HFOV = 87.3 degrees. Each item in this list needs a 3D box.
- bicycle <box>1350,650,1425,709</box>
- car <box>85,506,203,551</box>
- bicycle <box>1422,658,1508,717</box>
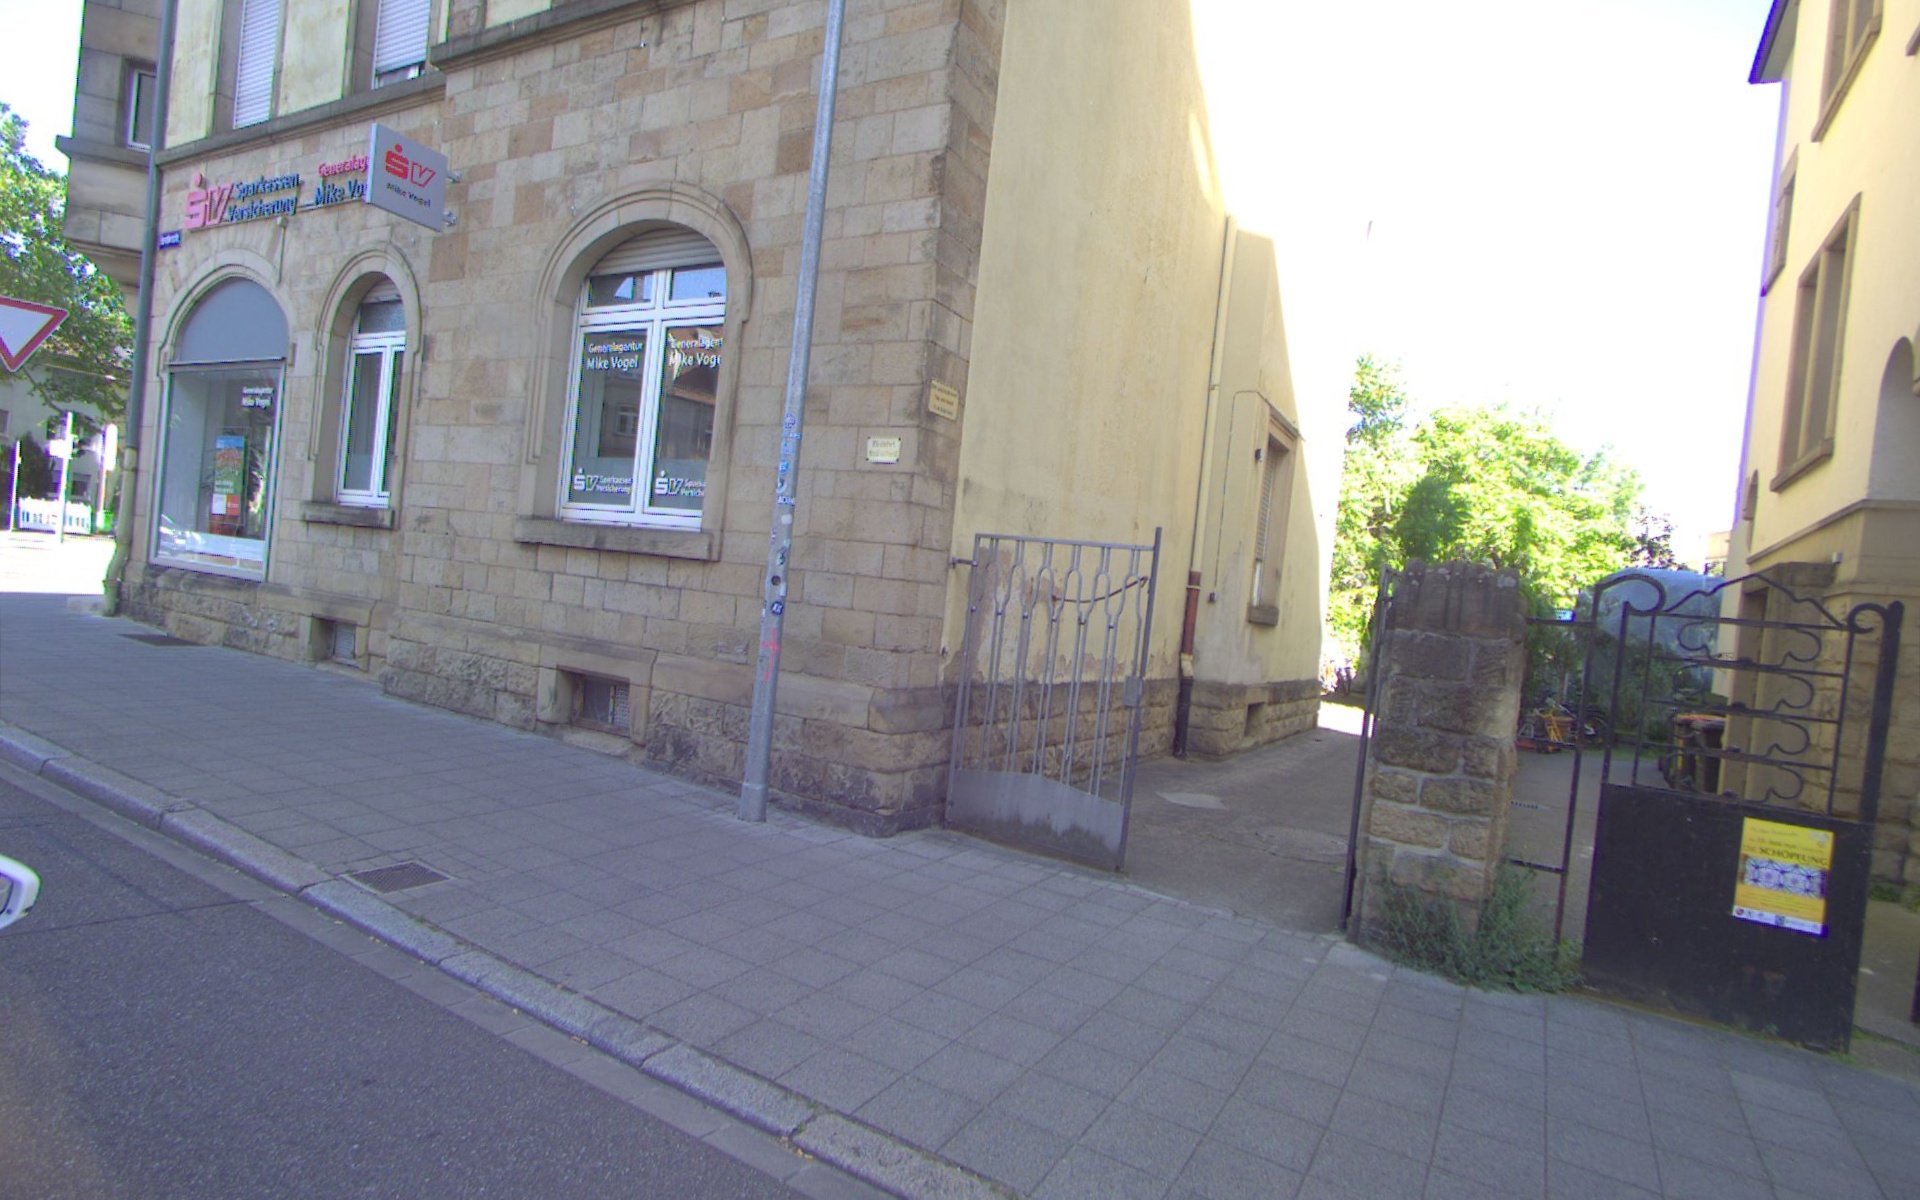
[{"bbox_3d":[10.611,1.947,25.088,0.860,1.180,2.659,6,0,6],"label":"bicycle"},{"bbox_3d":[-34.461,-2.995,42.612,1.577,1.370,3.666,6,-1,9],"label":"car"},{"bbox_3d":[12.298,2.104,24.617,0.855,1.124,2.864,6,0,7],"label":"bicycle"}]
